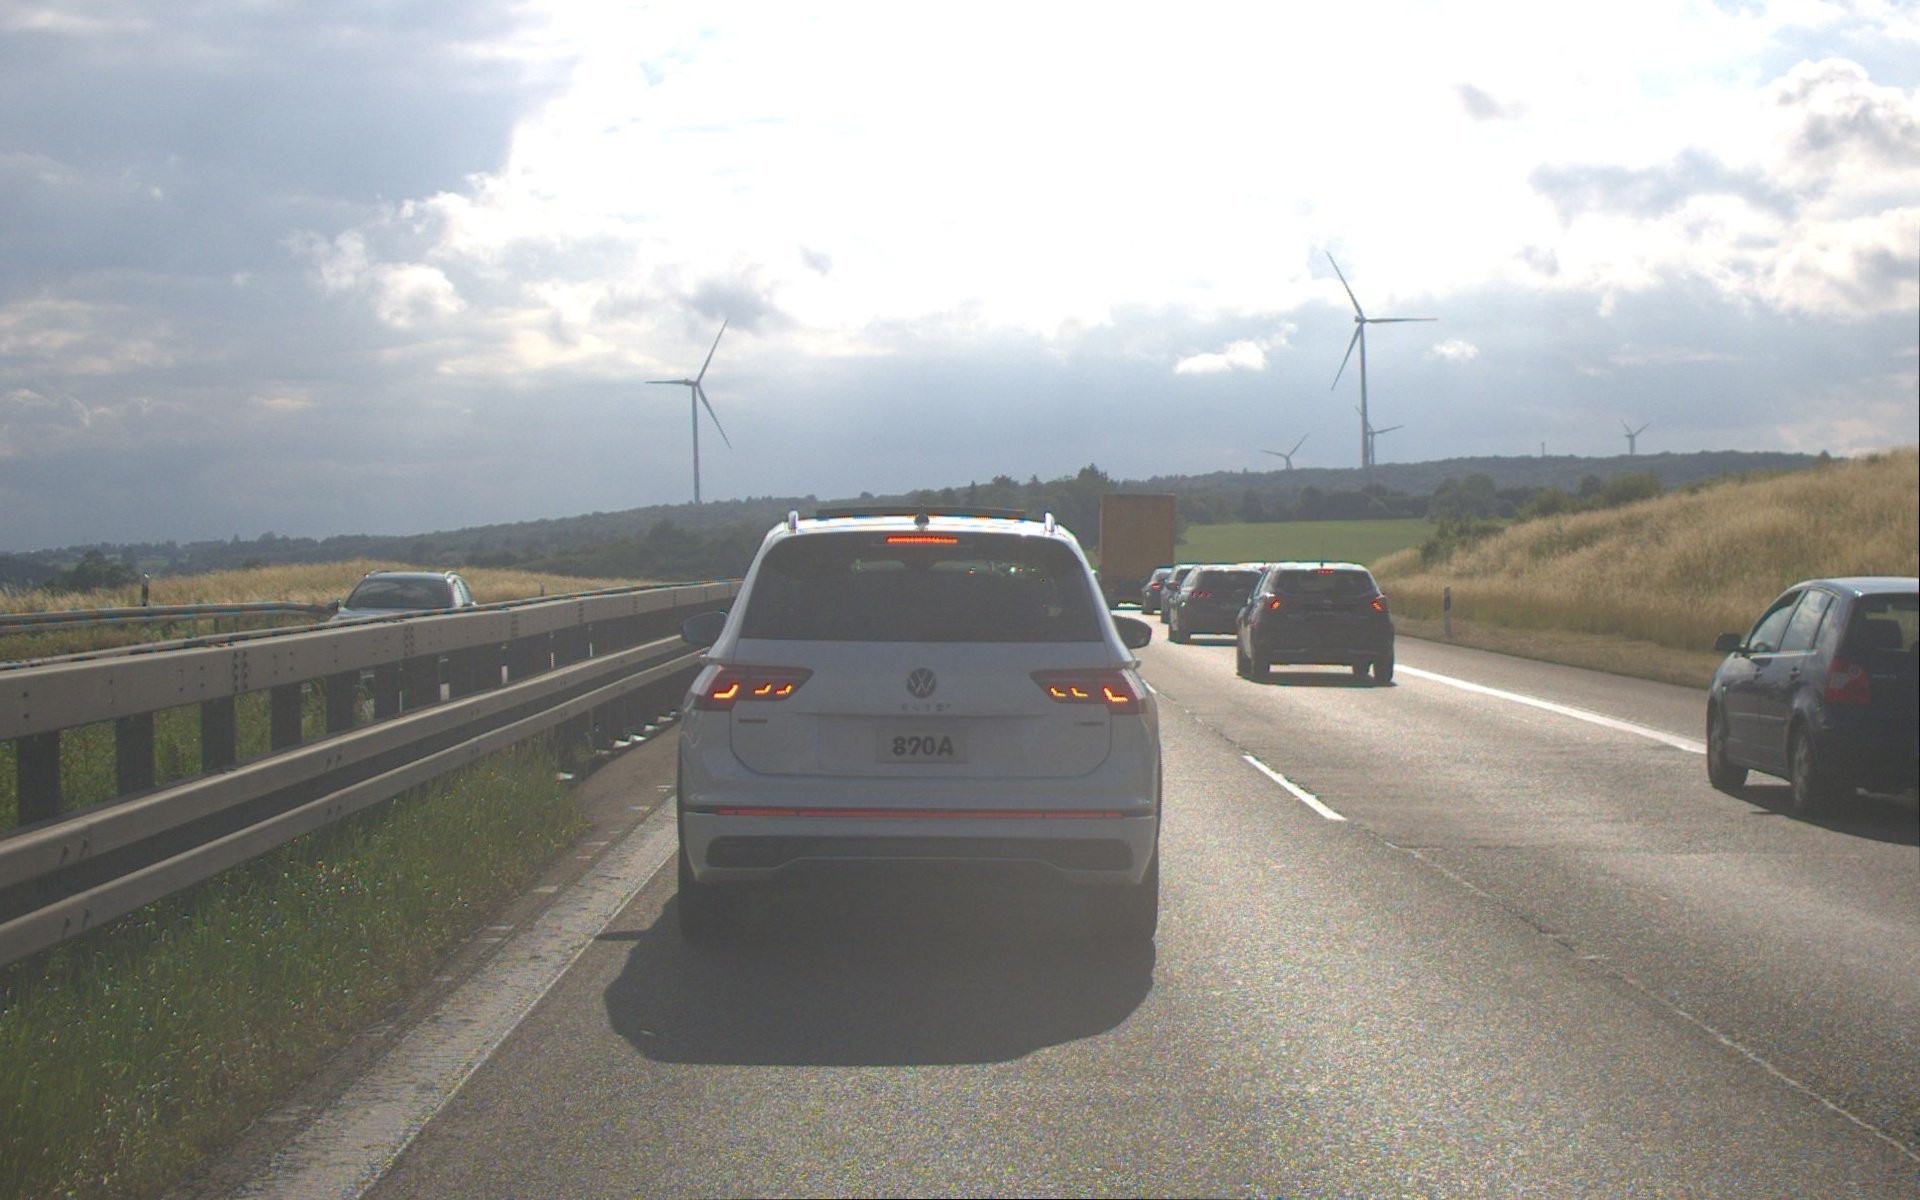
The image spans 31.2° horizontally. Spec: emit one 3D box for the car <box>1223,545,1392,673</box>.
[{"bbox_3d":[4.351,0.091,43.501,1.704,1.540,4.000,0,0,0],"label":"car"}]

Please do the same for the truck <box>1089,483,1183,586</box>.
[{"bbox_3d":[6.355,-2.383,125.640,3.184,3.581,11.130,0,1,2],"label":"truck"}]

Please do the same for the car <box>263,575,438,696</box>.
[{"bbox_3d":[-7.970,0.437,45.268,1.597,1.510,4.160,0,0,-1],"label":"car"}]

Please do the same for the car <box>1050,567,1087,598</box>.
[{"bbox_3d":[5.467,-0.899,173.311,1.704,1.540,4.000,0,0,0],"label":"car"}]

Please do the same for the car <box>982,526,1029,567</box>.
[{"bbox_3d":[1.724,-2.042,131.823,1.704,1.540,4.000,0,0,0],"label":"car"}]

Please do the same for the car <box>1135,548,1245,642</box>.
[{"bbox_3d":[4.155,-0.099,62.530,1.704,1.644,4.000,0,0,0],"label":"car"}]

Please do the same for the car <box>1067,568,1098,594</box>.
[{"bbox_3d":[7.472,-1.184,210.444,1.704,1.540,4.000,0,0,0],"label":"car"}]

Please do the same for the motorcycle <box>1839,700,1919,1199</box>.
[{"bbox_3d":[2.508,0.836,6.857,0.895,1.186,2.257,0,0,-1],"label":"motorcycle"}]

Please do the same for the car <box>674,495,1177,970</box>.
[{"bbox_3d":[-0.131,0.454,14.155,1.770,1.670,4.000,0,0,0],"label":"car"}]

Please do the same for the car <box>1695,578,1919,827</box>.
[{"bbox_3d":[5.768,0.579,21.535,1.606,1.415,3.672,0,0,1],"label":"car"}]

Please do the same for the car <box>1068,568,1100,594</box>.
[{"bbox_3d":[7.338,-1.135,204.107,1.704,1.540,4.000,0,0,0],"label":"car"}]

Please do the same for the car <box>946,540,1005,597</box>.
[{"bbox_3d":[0.433,-0.940,101.962,1.704,1.644,4.000,0,0,0],"label":"car"}]
